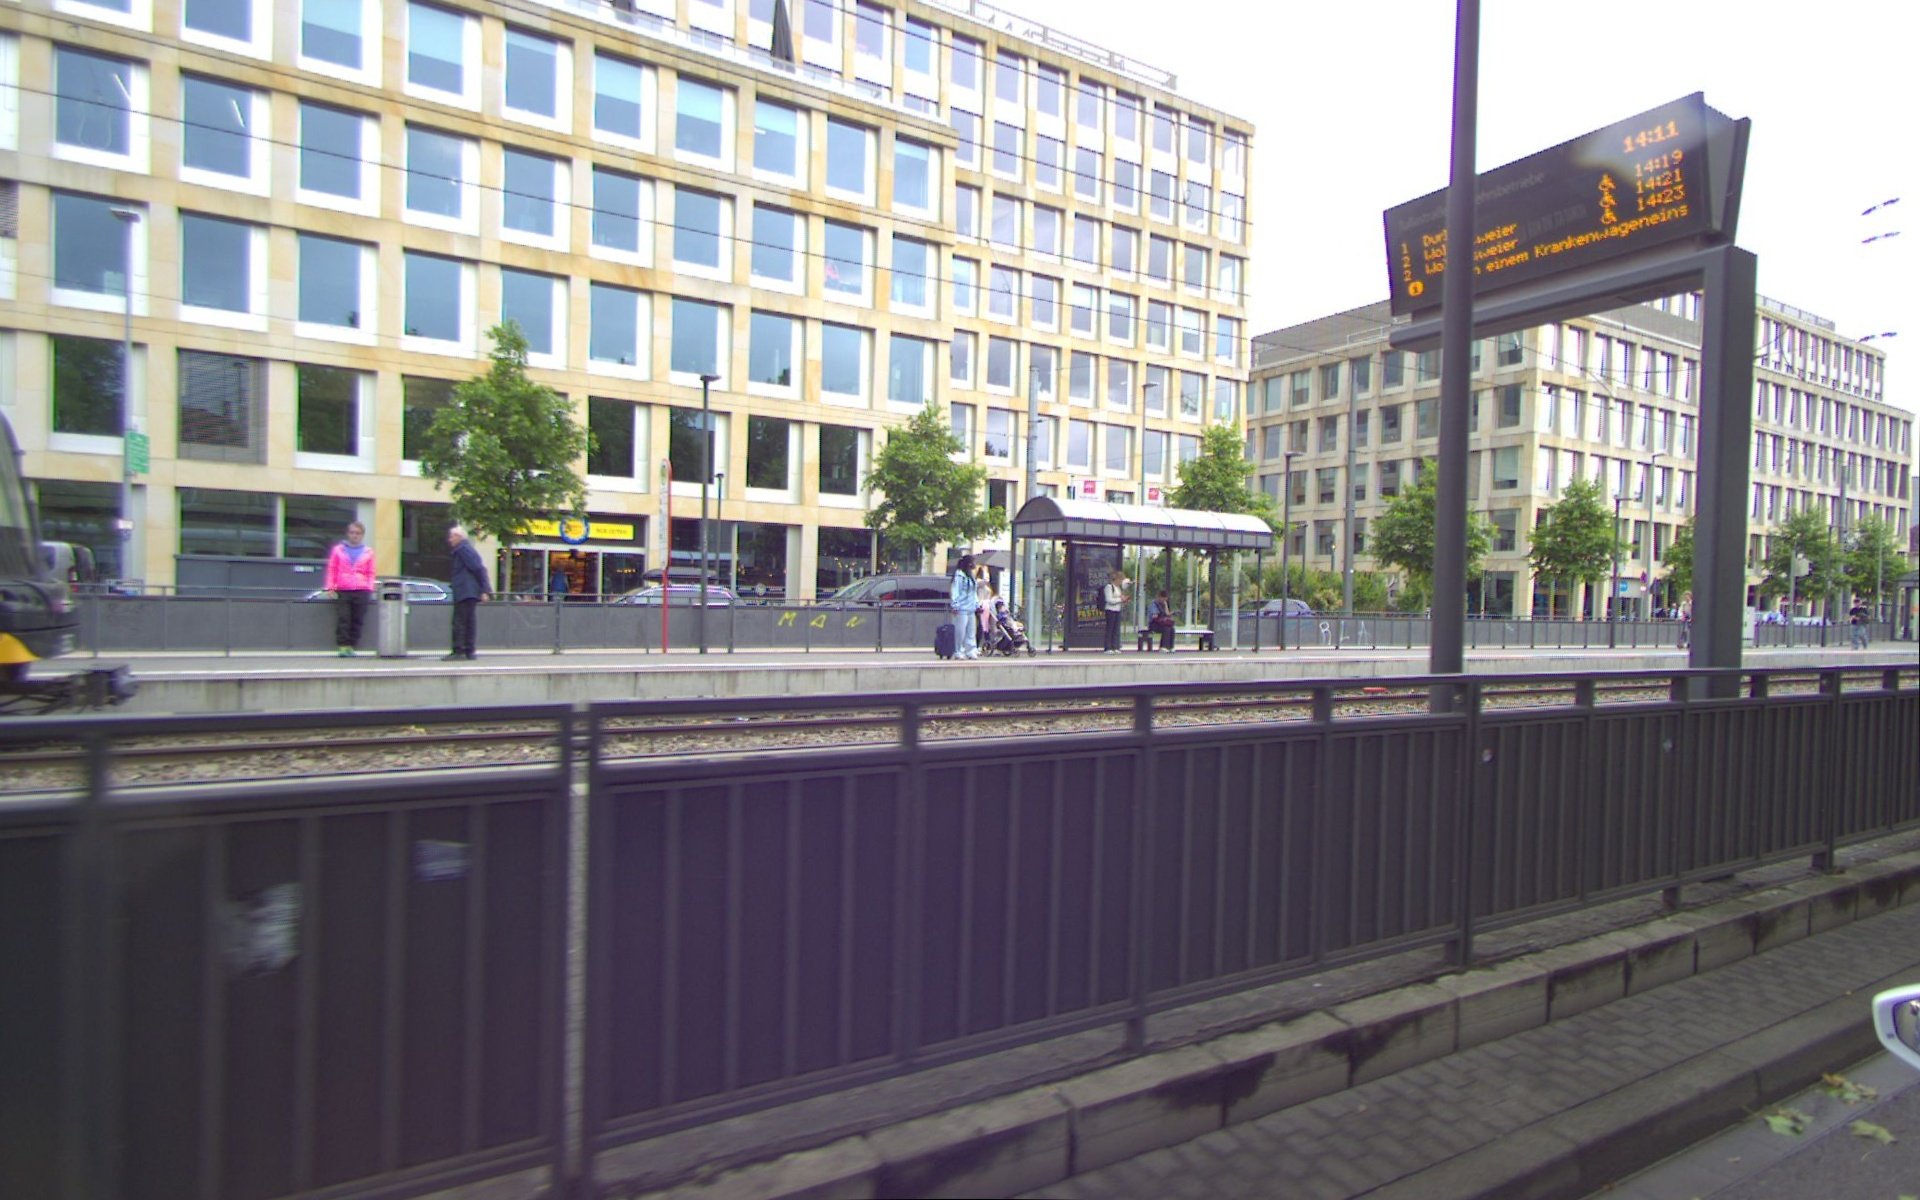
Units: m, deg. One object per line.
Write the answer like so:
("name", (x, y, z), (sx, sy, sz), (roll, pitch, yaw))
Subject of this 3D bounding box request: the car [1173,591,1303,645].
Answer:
("car", (9.396, 0.611, 33.945), (3.950, 1.684, 1.986), (2, 0, -28))

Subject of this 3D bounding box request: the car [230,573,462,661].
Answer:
("car", (-12.749, 0.365, 21.180), (3.950, 1.684, 1.986), (2, 0, -28))

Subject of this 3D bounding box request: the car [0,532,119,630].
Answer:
("car", (-17.974, -0.384, 18.076), (3.950, 1.684, 1.986), (2, 0, -28))

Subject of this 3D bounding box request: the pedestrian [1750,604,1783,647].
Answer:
("pedestrian", (39.267, 1.243, 48.920), (1.020, 2.040, 0.928), (2, 0, -31))

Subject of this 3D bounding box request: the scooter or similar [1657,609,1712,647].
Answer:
("scooter or similar", (22.371, 0.865, 30.993), (2.201, 1.129, 0.520), (2, 0, -31))

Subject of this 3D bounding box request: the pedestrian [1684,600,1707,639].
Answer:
("pedestrian", (39.118, 1.025, 53.436), (0.716, 2.040, 0.709), (2, 0, -30))

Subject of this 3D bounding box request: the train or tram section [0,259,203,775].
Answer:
("train or tram section", (-12.729, -0.802, 5.484), (13.365, 3.741, 2.840), (2, 0, -31))

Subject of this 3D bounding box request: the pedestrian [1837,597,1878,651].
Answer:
("pedestrian", (31.412, 0.837, 35.161), (1.147, 1.819, 0.708), (2, 0, -31))

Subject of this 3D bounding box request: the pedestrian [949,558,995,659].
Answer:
("pedestrian", (0.192, 0.147, 16.599), (0.557, 1.628, 0.534), (2, 0, -23))

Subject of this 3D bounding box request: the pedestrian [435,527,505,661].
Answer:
("pedestrian", (-6.761, -0.083, 13.874), (0.577, 1.793, 0.597), (2, 0, 24))

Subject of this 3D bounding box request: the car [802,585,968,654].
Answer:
("car", (-2.004, 0.526, 26.839), (3.950, 1.684, 1.986), (2, 0, -28))

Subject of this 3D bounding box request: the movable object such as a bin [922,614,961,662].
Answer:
("movable object such as a bin", (-0.301, 0.613, 16.395), (0.462, 0.757, 0.534), (2, 0, -23))

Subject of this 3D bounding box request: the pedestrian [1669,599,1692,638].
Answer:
("pedestrian", (37.854, 0.979, 52.755), (0.716, 2.040, 0.709), (2, 0, -30))

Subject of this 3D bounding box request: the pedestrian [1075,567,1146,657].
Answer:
("pedestrian", (2.965, 0.231, 19.904), (0.927, 1.708, 1.034), (2, 0, -26))

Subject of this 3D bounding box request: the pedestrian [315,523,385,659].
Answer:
("pedestrian", (-8.694, -0.123, 14.344), (0.710, 1.879, 0.697), (2, 0, -23))

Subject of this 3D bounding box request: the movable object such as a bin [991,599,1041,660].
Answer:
("movable object such as a bin", (1.002, 0.510, 17.808), (0.610, 1.035, 0.722), (2, 0, 27))

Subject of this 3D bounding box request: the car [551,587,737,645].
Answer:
("car", (-7.508, 0.384, 23.884), (3.950, 1.243, 1.889), (2, 0, -28))

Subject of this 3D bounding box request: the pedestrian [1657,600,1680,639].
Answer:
("pedestrian", (38.066, 1.049, 53.958), (0.716, 2.040, 0.709), (2, 0, -30))

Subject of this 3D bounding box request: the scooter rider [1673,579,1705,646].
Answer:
("scooter rider", (22.563, 0.393, 31.086), (0.674, 2.036, 0.513), (2, 0, -30))

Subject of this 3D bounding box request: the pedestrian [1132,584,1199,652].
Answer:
("pedestrian", (4.347, 0.379, 21.330), (0.927, 1.390, 1.034), (2, 0, -26))

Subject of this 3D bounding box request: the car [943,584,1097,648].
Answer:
("car", (1.730, 0.462, 28.908), (3.950, 1.684, 1.986), (2, 0, -28))

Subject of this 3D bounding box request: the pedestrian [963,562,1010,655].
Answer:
("pedestrian", (0.488, 0.148, 18.081), (0.568, 1.628, 0.656), (2, 0, 27))
